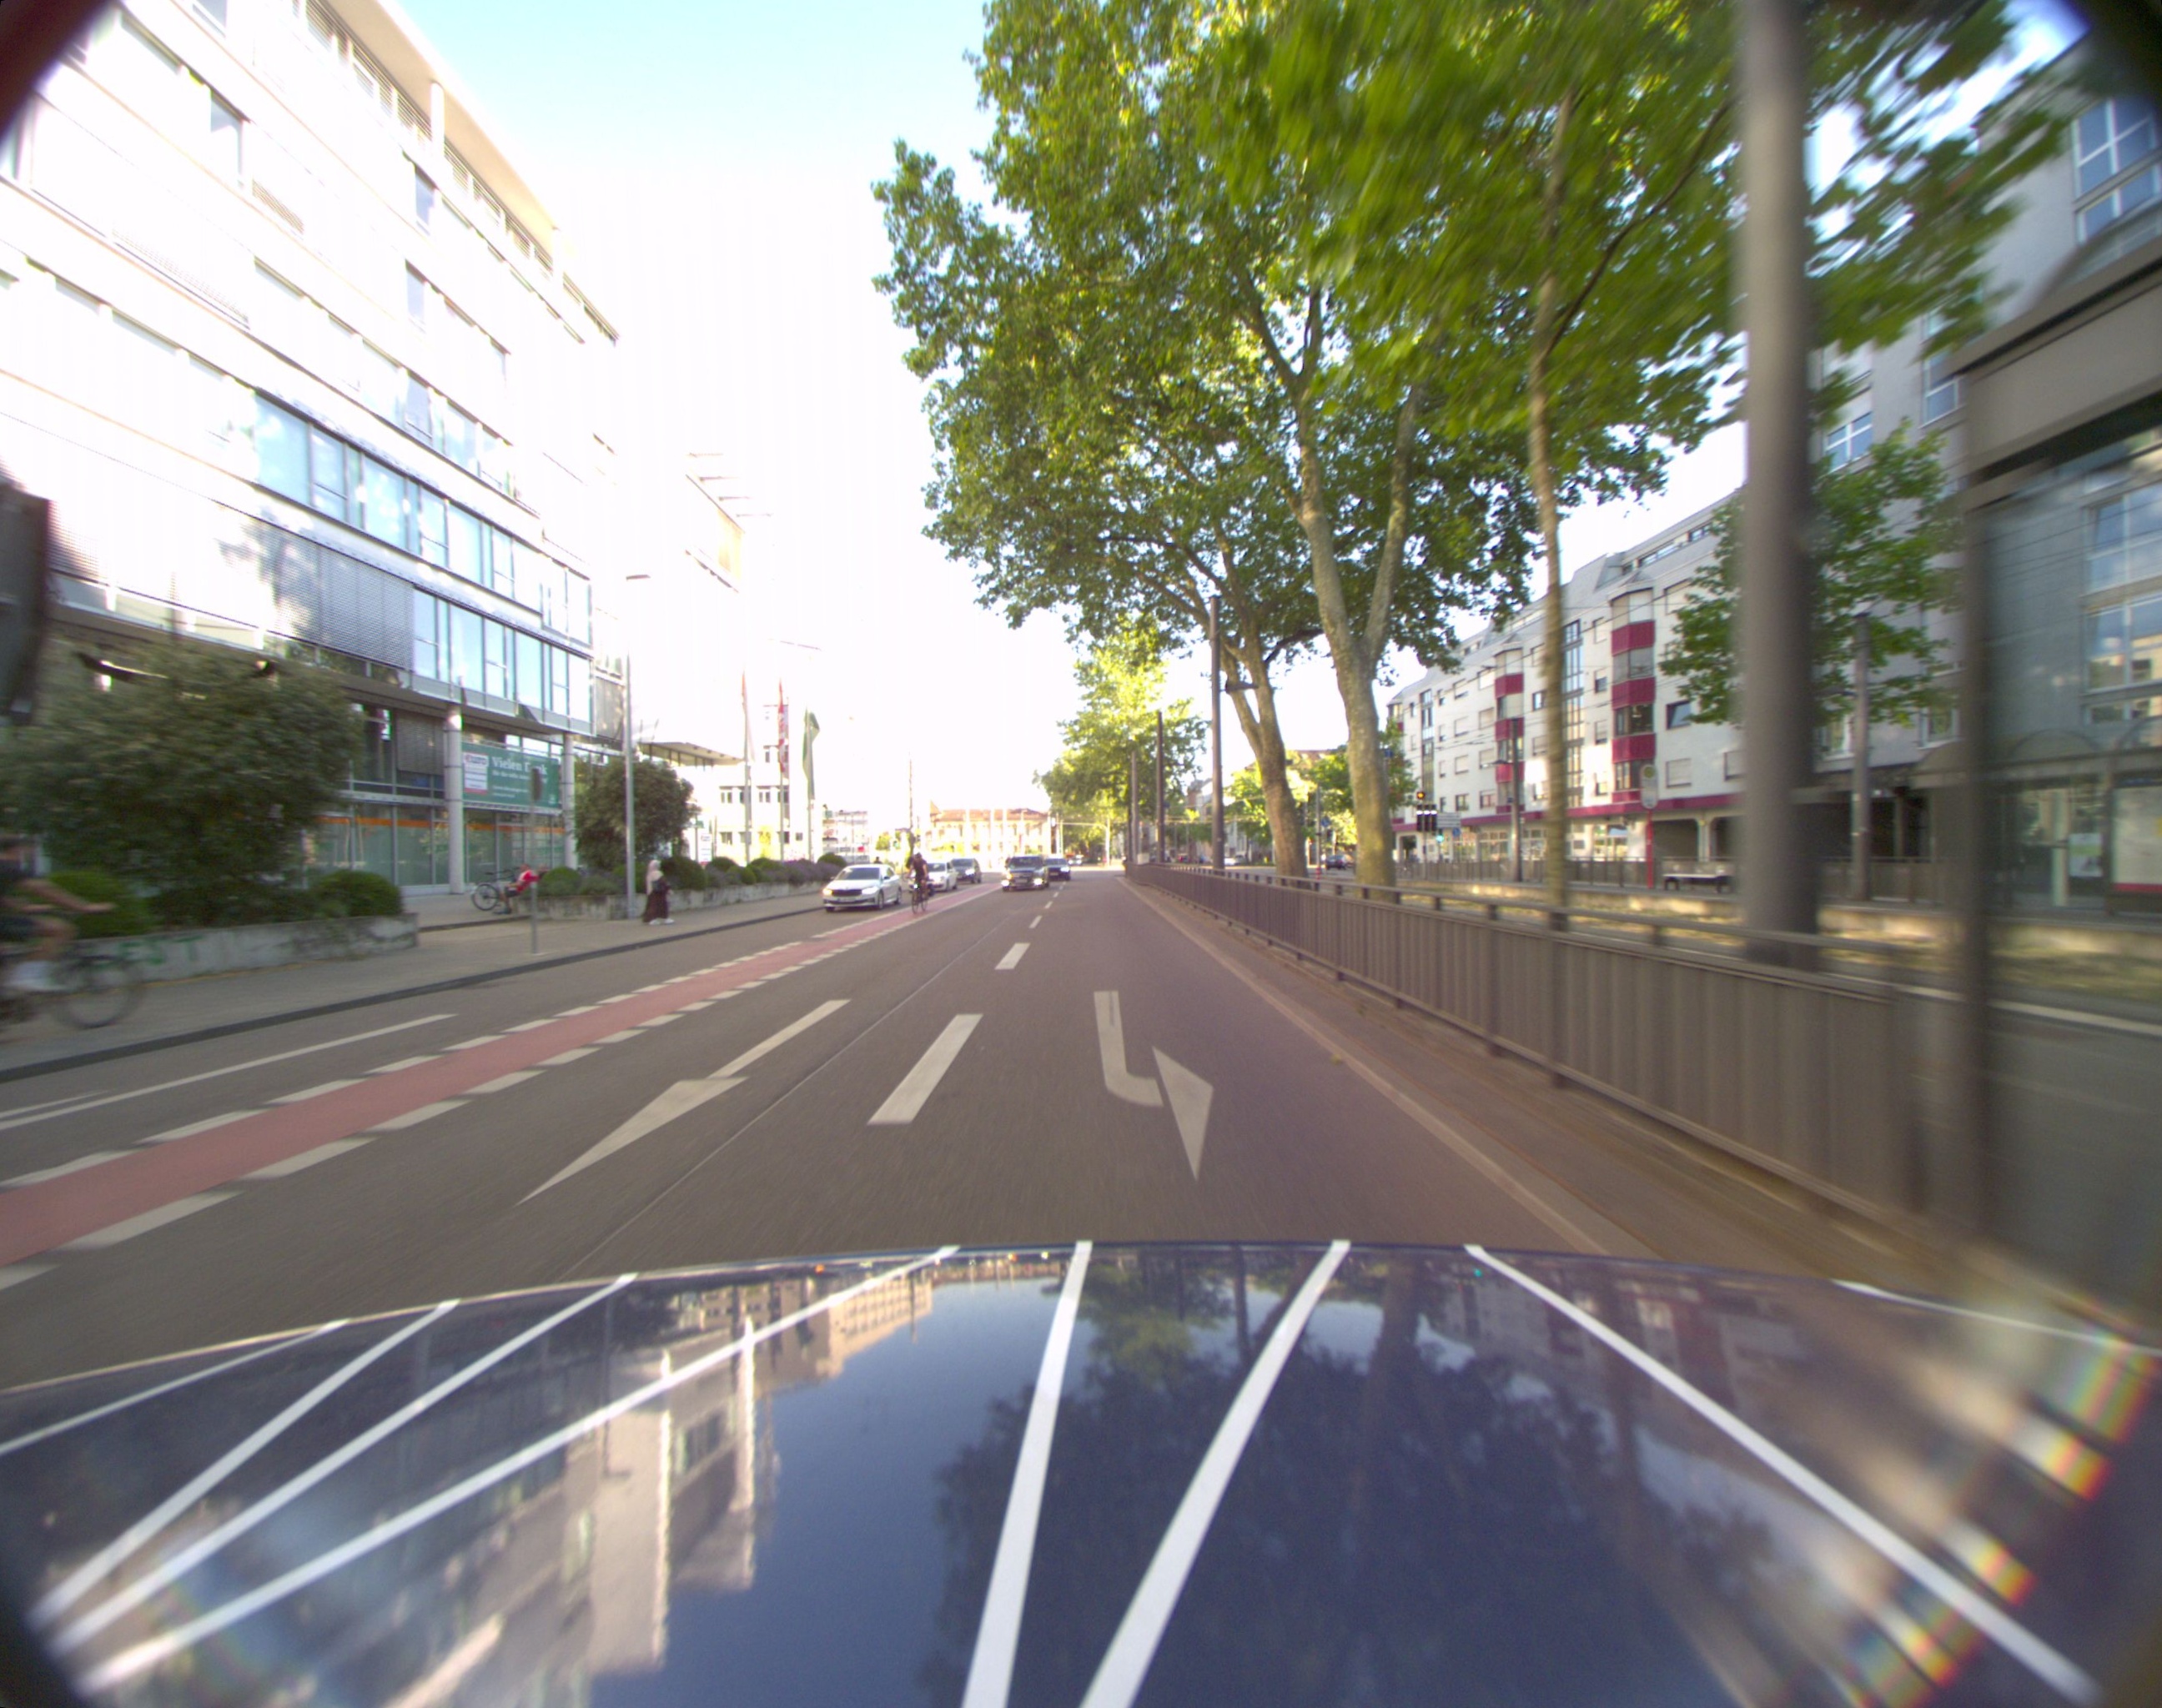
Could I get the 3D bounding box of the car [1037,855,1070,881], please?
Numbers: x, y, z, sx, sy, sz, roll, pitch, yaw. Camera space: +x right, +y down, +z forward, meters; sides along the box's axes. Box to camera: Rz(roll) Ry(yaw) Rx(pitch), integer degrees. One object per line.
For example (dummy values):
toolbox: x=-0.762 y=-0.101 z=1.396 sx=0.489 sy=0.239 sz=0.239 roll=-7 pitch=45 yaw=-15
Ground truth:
car: x=-1.638 y=0.796 z=46.121 sx=1.827 sy=1.416 sz=4.345 roll=-2 pitch=0 yaw=-1

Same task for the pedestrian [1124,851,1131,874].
pedestrian: x=3.155 y=0.601 z=51.462 sx=0.389 sy=1.558 sz=0.336 roll=-1 pitch=1 yaw=6

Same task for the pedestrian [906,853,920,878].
pedestrian: x=-10.931 y=0.746 z=49.541 sx=0.693 sy=1.573 sz=0.664 roll=2 pitch=1 yaw=1

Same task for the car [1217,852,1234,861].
car: x=22.514 y=0.371 z=118.582 sx=1.895 sy=1.259 sz=4.000 roll=-1 pitch=0 yaw=0

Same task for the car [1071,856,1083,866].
car: x=-0.636 y=1.079 z=118.165 sx=1.827 sy=1.416 sz=4.345 roll=-2 pitch=0 yaw=-1

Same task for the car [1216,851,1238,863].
car: x=18.713 y=0.340 z=97.308 sx=1.998 sy=1.455 sz=3.999 roll=-1 pitch=0 yaw=0

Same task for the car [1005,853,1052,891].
car: x=-2.370 y=0.763 z=34.913 sx=1.785 sy=1.628 sz=4.021 roll=0 pitch=0 yaw=1

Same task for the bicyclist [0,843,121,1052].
bicyclist: x=-9.528 y=0.790 z=6.620 sx=0.743 sy=1.752 sz=1.209 roll=2 pitch=1 yaw=1

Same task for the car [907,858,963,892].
car: x=-6.776 y=0.943 z=35.730 sx=1.671 sy=1.455 sz=3.869 roll=0 pitch=0 yaw=3

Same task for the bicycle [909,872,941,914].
bicycle: x=-4.643 y=1.136 z=22.710 sx=0.551 sy=1.114 sz=2.126 roll=0 pitch=0 yaw=-1

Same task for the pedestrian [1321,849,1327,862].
pedestrian: x=28.193 y=0.181 z=88.045 sx=0.590 sy=1.498 sz=0.649 roll=0 pitch=1 yaw=24

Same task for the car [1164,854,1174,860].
car: x=20.980 y=0.725 z=180.762 sx=1.895 sy=1.552 sz=4.000 roll=-1 pitch=0 yaw=0

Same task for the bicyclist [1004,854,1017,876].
bicyclist: x=-4.417 y=0.687 z=47.439 sx=0.685 sy=1.372 sz=0.867 roll=-1 pitch=1 yaw=0

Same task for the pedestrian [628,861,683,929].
pedestrian: x=-10.234 y=0.970 z=18.301 sx=0.753 sy=1.566 sz=0.912 roll=-1 pitch=1 yaw=3

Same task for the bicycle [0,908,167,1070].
bicycle: x=-9.540 y=1.194 z=6.669 sx=0.665 sy=1.268 sz=1.927 roll=2 pitch=1 yaw=1

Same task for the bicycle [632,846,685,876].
bicycle: x=-20.373 y=0.352 z=36.652 sx=2.425 sy=1.419 sz=0.758 roll=-1 pitch=1 yaw=18

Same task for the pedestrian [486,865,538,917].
pedestrian: x=-14.199 y=0.914 z=18.967 sx=0.752 sy=1.264 sz=0.693 roll=-1 pitch=1 yaw=-4

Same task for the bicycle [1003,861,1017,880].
bicycle: x=-4.419 y=1.019 z=47.525 sx=0.666 sy=1.118 sz=1.873 roll=-1 pitch=0 yaw=0

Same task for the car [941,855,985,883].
car: x=-7.057 y=0.859 z=45.909 sx=1.998 sy=1.587 sz=4.000 roll=-1 pitch=0 yaw=0

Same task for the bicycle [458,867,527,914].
bicycle: x=-15.419 y=0.928 z=19.955 sx=0.534 sy=1.155 sz=1.611 roll=0 pitch=0 yaw=1

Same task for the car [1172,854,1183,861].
car: x=21.530 y=0.833 z=169.348 sx=1.895 sy=1.552 sz=4.000 roll=-1 pitch=0 yaw=0

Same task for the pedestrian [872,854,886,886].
pedestrian: x=-9.939 y=0.786 z=37.401 sx=0.527 sy=1.573 sz=0.589 roll=2 pitch=1 yaw=1

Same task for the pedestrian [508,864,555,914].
pedestrian: x=-14.226 y=0.903 z=19.695 sx=0.785 sy=1.264 sz=0.543 roll=-1 pitch=1 yaw=-4

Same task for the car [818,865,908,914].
car: x=-7.063 y=1.109 z=25.015 sx=1.786 sy=1.411 sz=4.021 roll=0 pitch=0 yaw=0

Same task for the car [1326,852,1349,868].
car: x=23.263 y=0.527 z=68.896 sx=1.647 sy=1.346 sz=3.907 roll=-1 pitch=0 yaw=23

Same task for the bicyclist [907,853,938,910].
bicyclist: x=-4.753 y=0.800 z=22.776 sx=0.752 sy=1.678 sz=0.714 roll=0 pitch=1 yaw=1

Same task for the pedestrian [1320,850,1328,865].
pedestrian: x=28.156 y=0.447 z=88.083 sx=0.602 sy=1.694 sz=0.670 roll=-1 pitch=2 yaw=39

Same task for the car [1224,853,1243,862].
car: x=22.147 y=0.469 z=110.312 sx=1.895 sy=1.259 sz=4.000 roll=-1 pitch=0 yaw=0
